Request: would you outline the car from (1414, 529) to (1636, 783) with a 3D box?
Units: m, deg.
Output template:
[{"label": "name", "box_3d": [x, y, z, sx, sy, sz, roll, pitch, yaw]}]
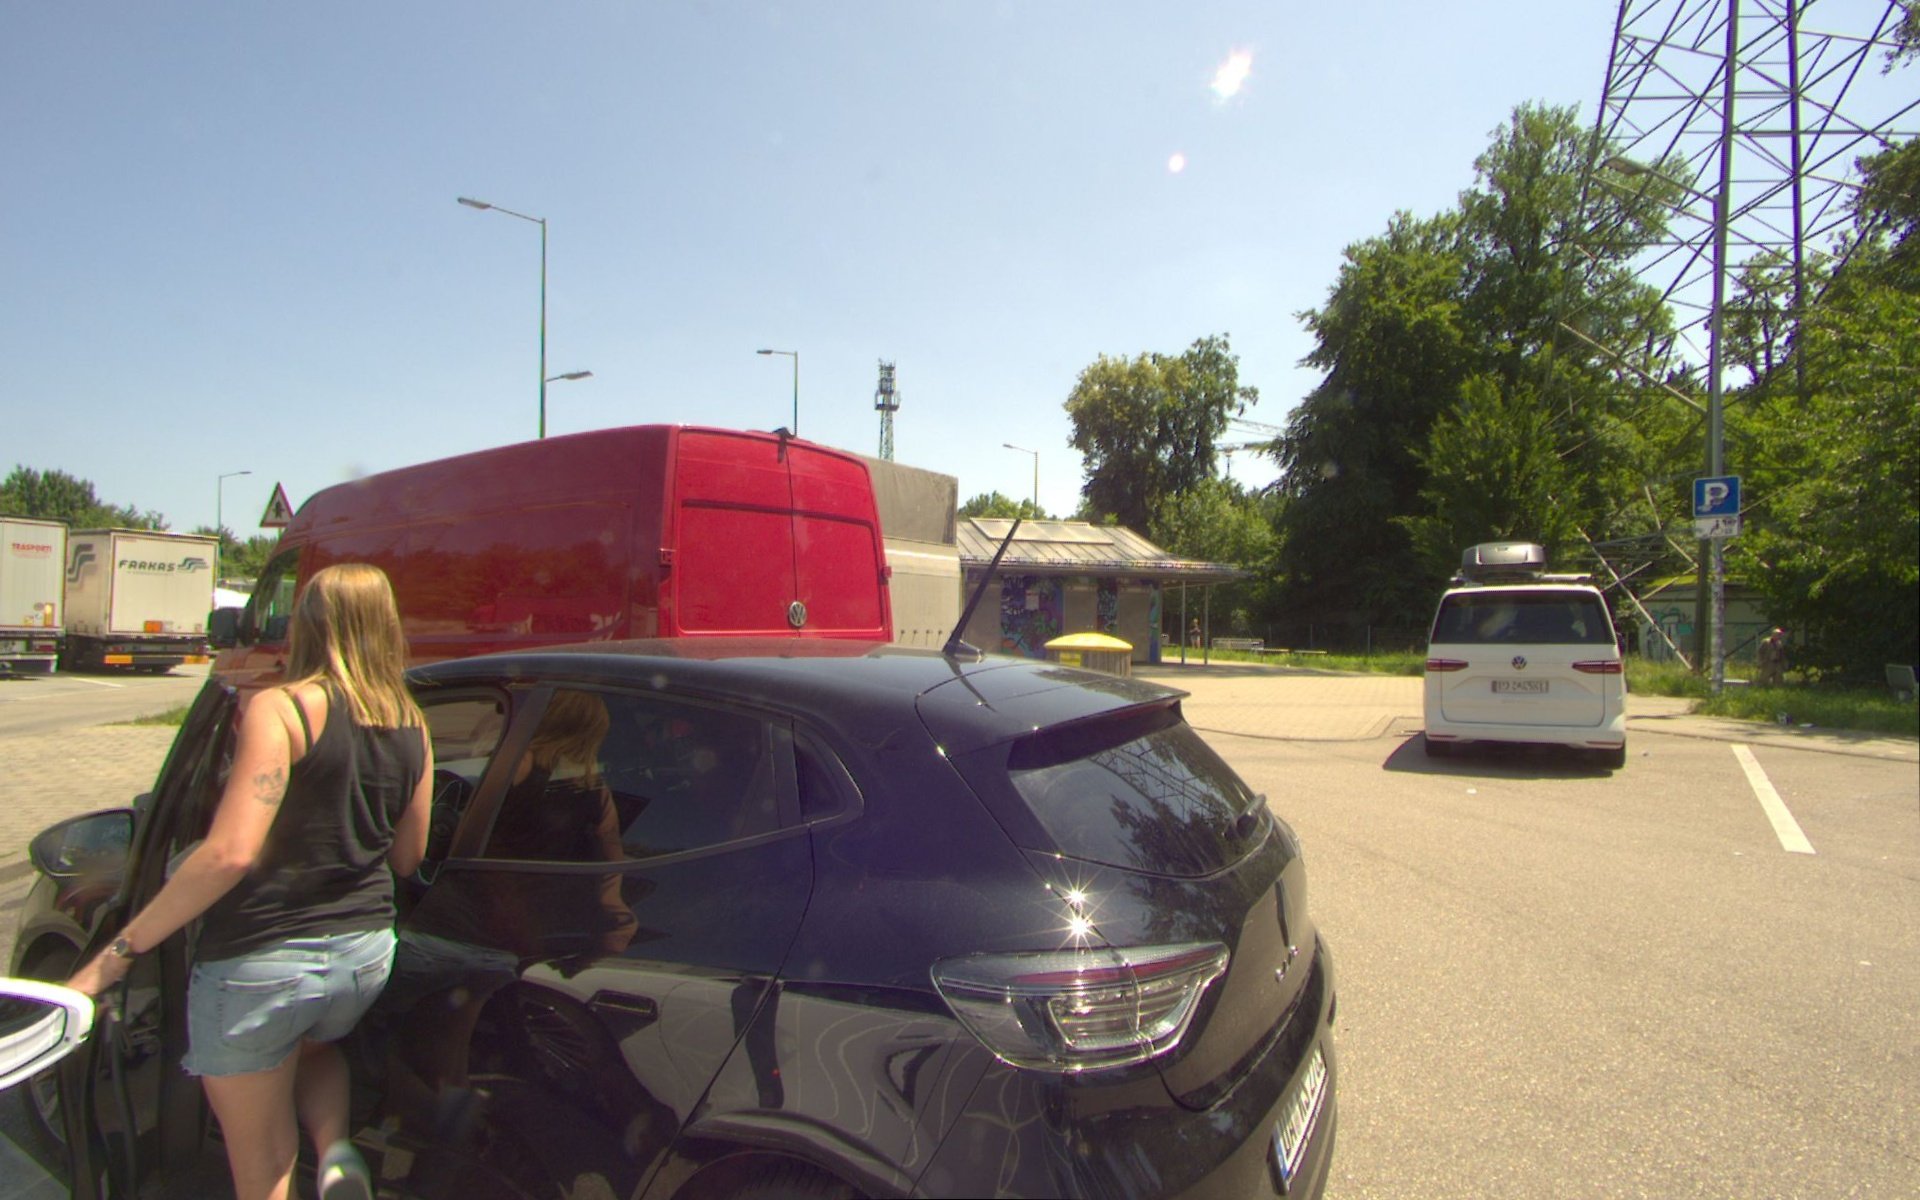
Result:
[{"label": "car", "box_3d": [6.547, 0.567, 11.546, 1.892, 2.354, 4.074, -1, -1, 32]}]

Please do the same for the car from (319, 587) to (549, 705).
[{"label": "car", "box_3d": [-11.017, 0.912, 20.822, 5.240, 2.178, 1.988, -1, 0, 34]}]

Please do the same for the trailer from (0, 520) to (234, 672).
[{"label": "trailer", "box_3d": [-27.286, -0.200, 31.451, 12.255, 4.090, 2.862, 2, -1, 33]}]

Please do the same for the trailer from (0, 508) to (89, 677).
[{"label": "trailer", "box_3d": [-28.347, -0.329, 27.786, 12.255, 4.090, 2.862, 2, -1, 33]}]

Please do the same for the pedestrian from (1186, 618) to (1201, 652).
[{"label": "pedestrian", "box_3d": [10.681, 1.611, 45.787, 0.581, 1.536, 0.588, 1, 0, 8]}]

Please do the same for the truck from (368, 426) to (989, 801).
[{"label": "truck", "box_3d": [-3.253, 0.133, 10.546, 6.874, 2.828, 2.460, 0, -1, 35]}]

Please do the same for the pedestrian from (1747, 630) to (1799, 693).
[{"label": "pedestrian", "box_3d": [18.516, 1.389, 22.807, 0.695, 1.392, 0.607, 1, 0, 11]}]

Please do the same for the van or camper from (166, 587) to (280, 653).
[{"label": "van or camper", "box_3d": [-30.647, 0.820, 41.600, 5.296, 2.595, 2.100, 0, -1, 34]}]

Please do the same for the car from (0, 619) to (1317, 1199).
[{"label": "car", "box_3d": [-1.052, 0.836, 2.832, 3.706, 1.503, 1.615, 0, -1, 27]}]

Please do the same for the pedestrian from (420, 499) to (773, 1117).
[{"label": "pedestrian", "box_3d": [-1.289, 0.646, 3.627, 0.902, 1.896, 0.771, 1, 0, 26]}]

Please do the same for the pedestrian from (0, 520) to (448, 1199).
[{"label": "pedestrian", "box_3d": [-1.295, 0.702, 1.782, 0.645, 1.606, 0.645, 1, 0, -29]}]

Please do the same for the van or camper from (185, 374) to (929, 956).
[{"label": "van or camper", "box_3d": [-3.358, 0.325, 7.340, 6.394, 2.688, 1.990, 0, -1, 36]}]

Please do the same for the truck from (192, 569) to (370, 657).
[{"label": "truck", "box_3d": [-31.684, 0.505, 46.464, 11.255, 3.615, 2.484, 2, -1, 33]}]

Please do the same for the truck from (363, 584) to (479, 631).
[{"label": "truck", "box_3d": [-34.713, 0.464, 64.266, 9.637, 2.857, 2.121, 0, -1, 33]}]
